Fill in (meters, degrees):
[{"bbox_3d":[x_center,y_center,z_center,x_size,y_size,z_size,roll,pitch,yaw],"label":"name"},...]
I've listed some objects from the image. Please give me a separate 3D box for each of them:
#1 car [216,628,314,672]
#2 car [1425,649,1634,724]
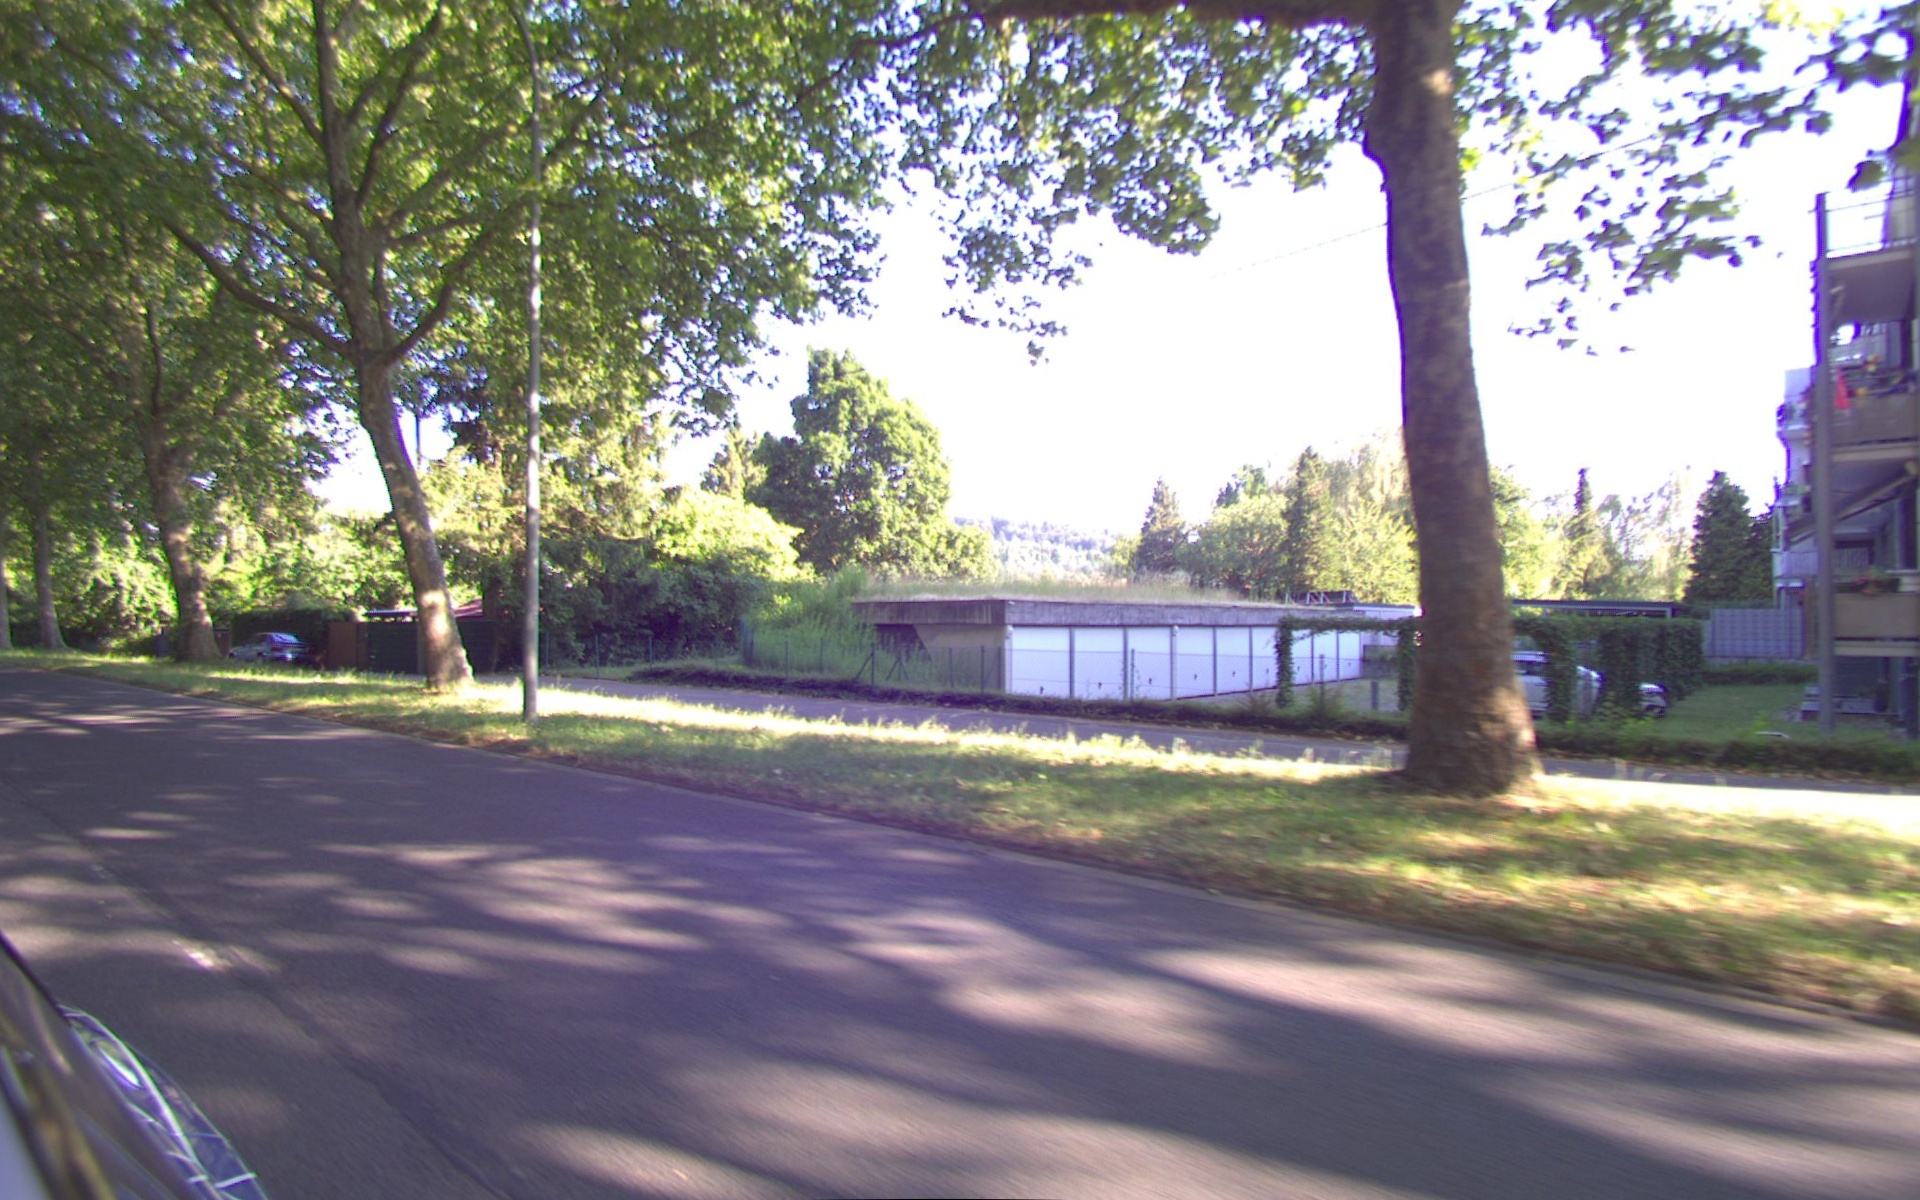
[{"bbox_3d":[-26.172,1.845,38.083,3.991,1.542,1.792,-1,-2,36],"label":"car"},{"bbox_3d":[13.492,1.981,24.082,4.112,1.558,1.865,-1,-2,38],"label":"car"}]
